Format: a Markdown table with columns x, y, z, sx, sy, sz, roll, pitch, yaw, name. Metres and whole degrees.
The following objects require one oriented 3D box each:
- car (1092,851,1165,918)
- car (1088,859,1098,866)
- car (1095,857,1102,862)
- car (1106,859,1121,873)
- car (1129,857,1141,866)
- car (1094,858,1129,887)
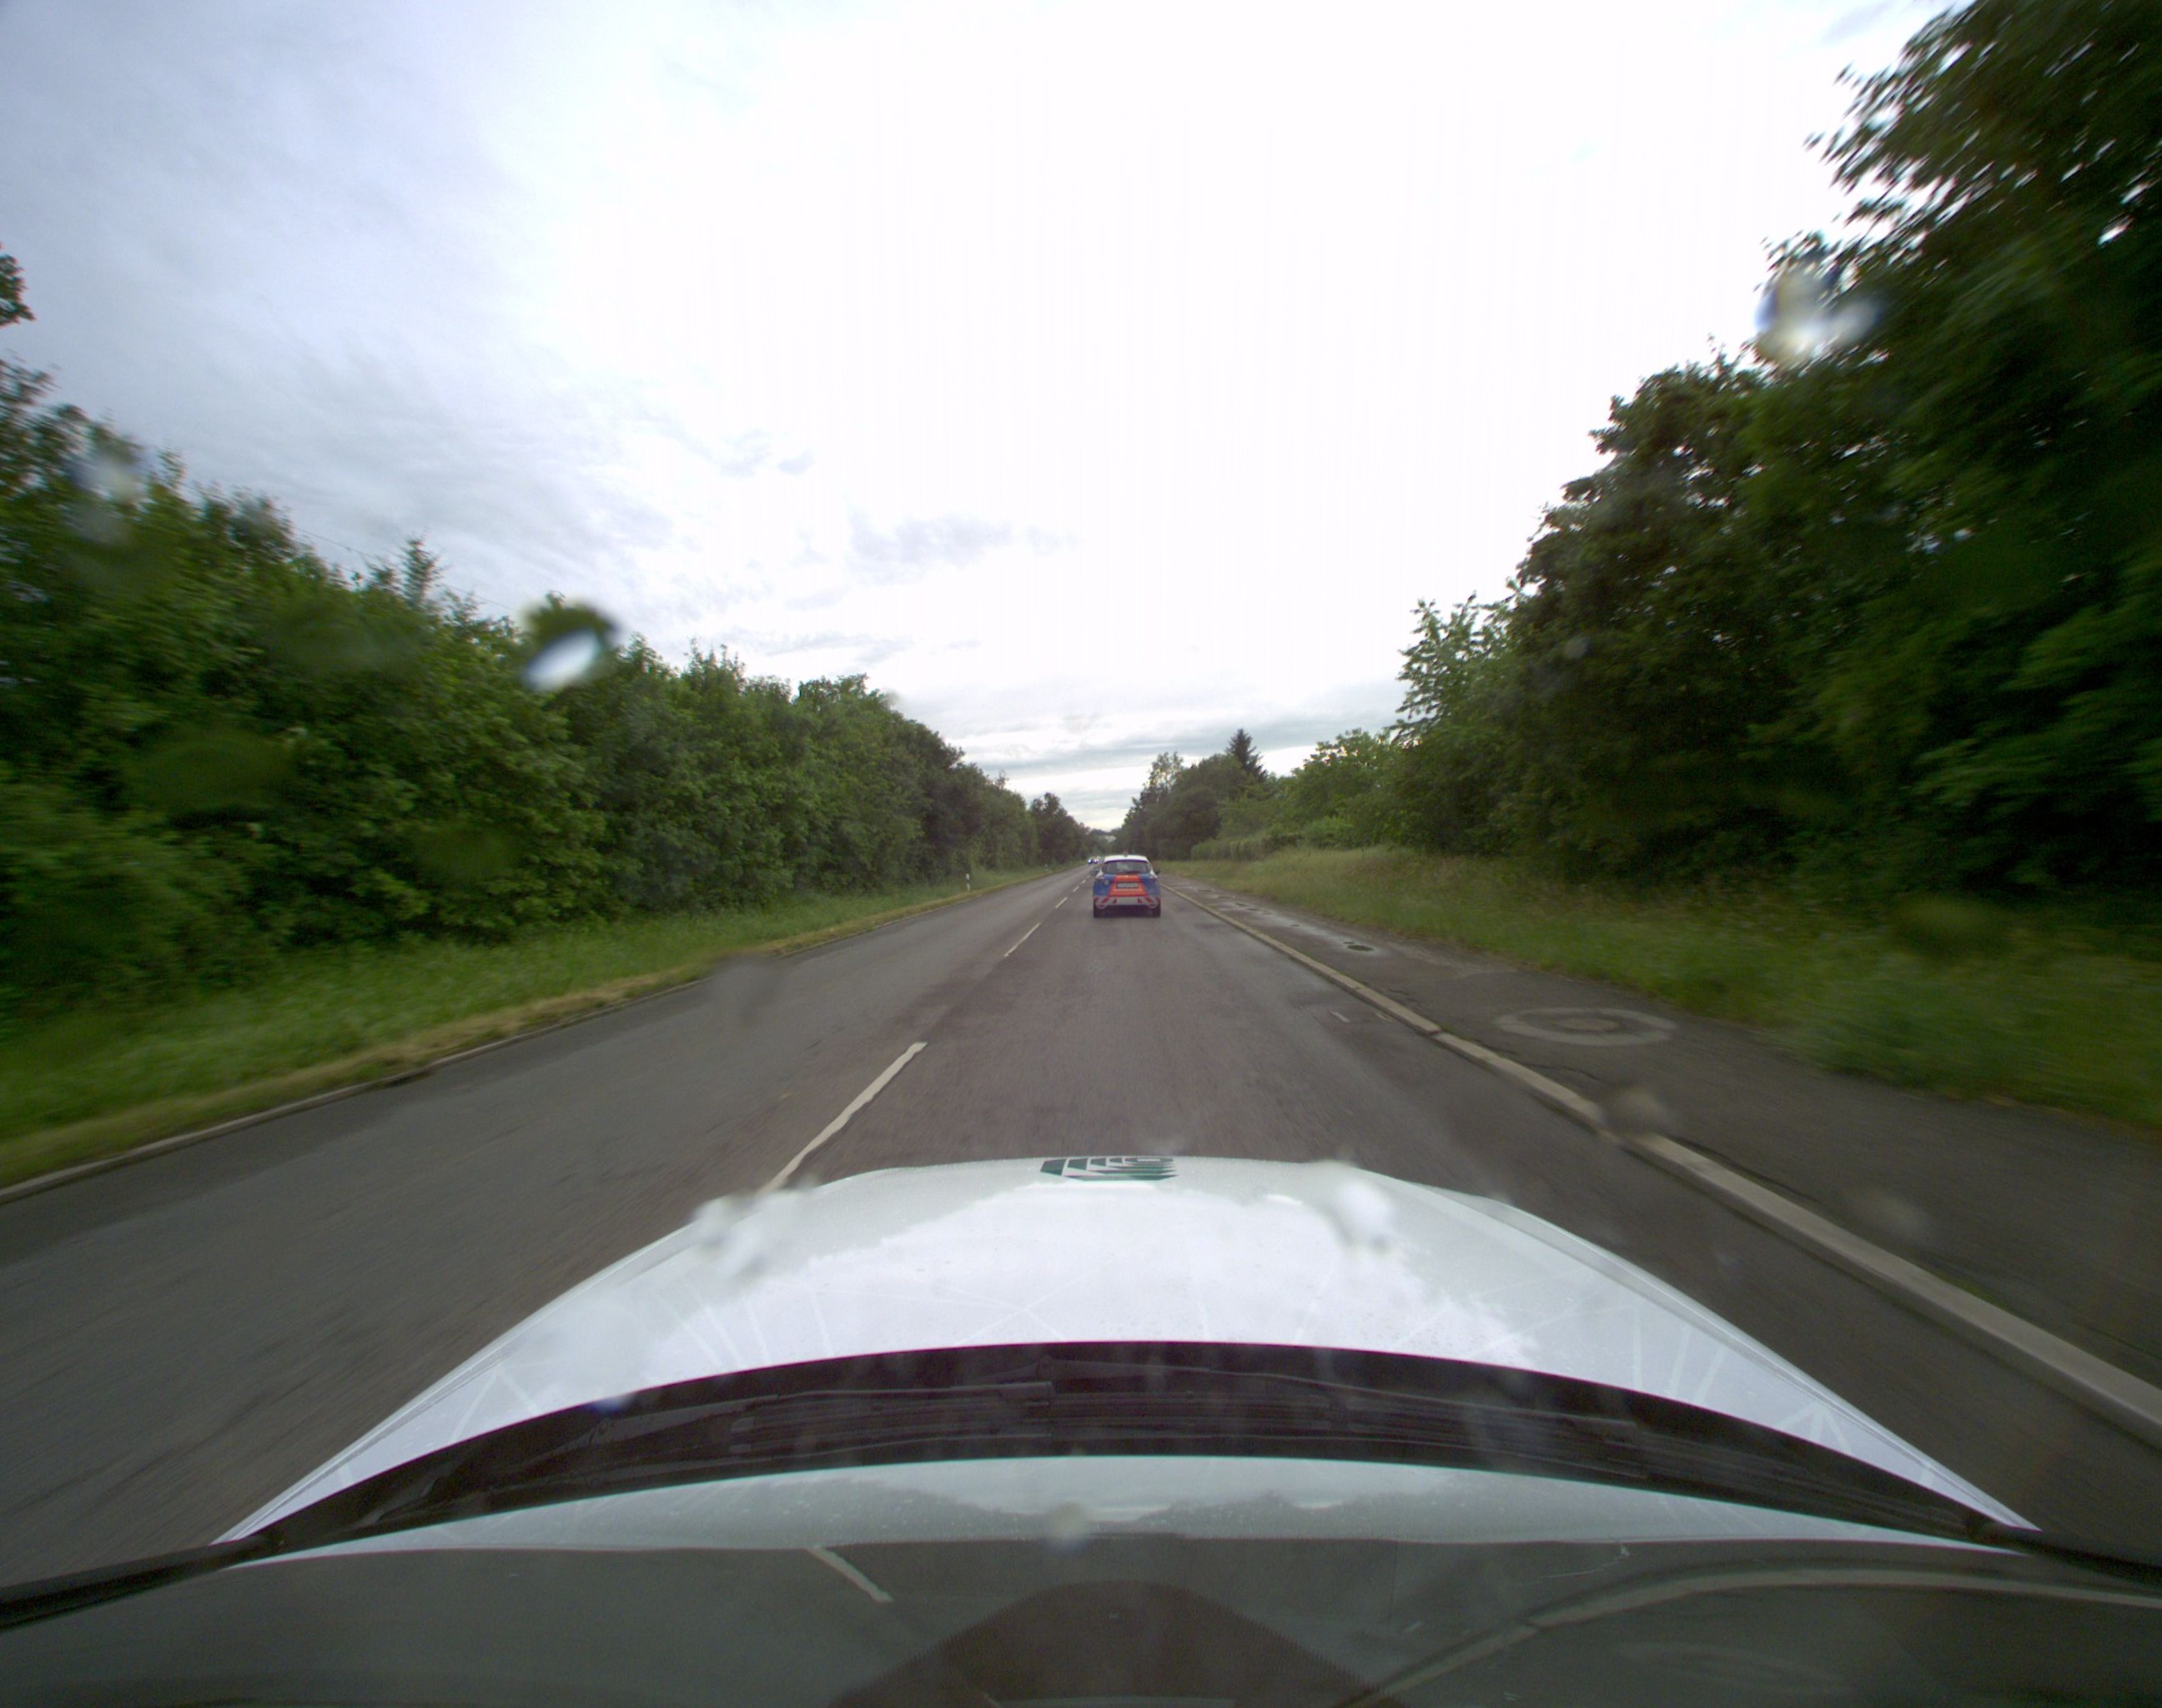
| x | y | z | sx | sy | sz | roll | pitch | yaw | name |
| --- | --- | --- | --- | --- | --- | --- | --- | --- | --- |
| 1.209 | 0.733 | 21.703 | 1.745 | 1.555 | 3.794 | -1 | 1 | 2 | car |
| 2.599 | 1.831 | 176.083 | 1.898 | 1.556 | 4.517 | -3 | 0 | 2 | car |
| 5.035 | 1.548 | 234.022 | 1.704 | 1.399 | 4.151 | -4 | 0 | 1 | car |
| 4.283 | 1.587 | 107.722 | 1.782 | 1.720 | 4.002 | -3 | 0 | 2 | car |
| 9.635 | 1.358 | 144.459 | 1.985 | 1.376 | 4.003 | -3 | 0 | 3 | car |
| 1.538 | 0.895 | 40.515 | 1.592 | 1.287 | 3.478 | -3 | 0 | 3 | car |
